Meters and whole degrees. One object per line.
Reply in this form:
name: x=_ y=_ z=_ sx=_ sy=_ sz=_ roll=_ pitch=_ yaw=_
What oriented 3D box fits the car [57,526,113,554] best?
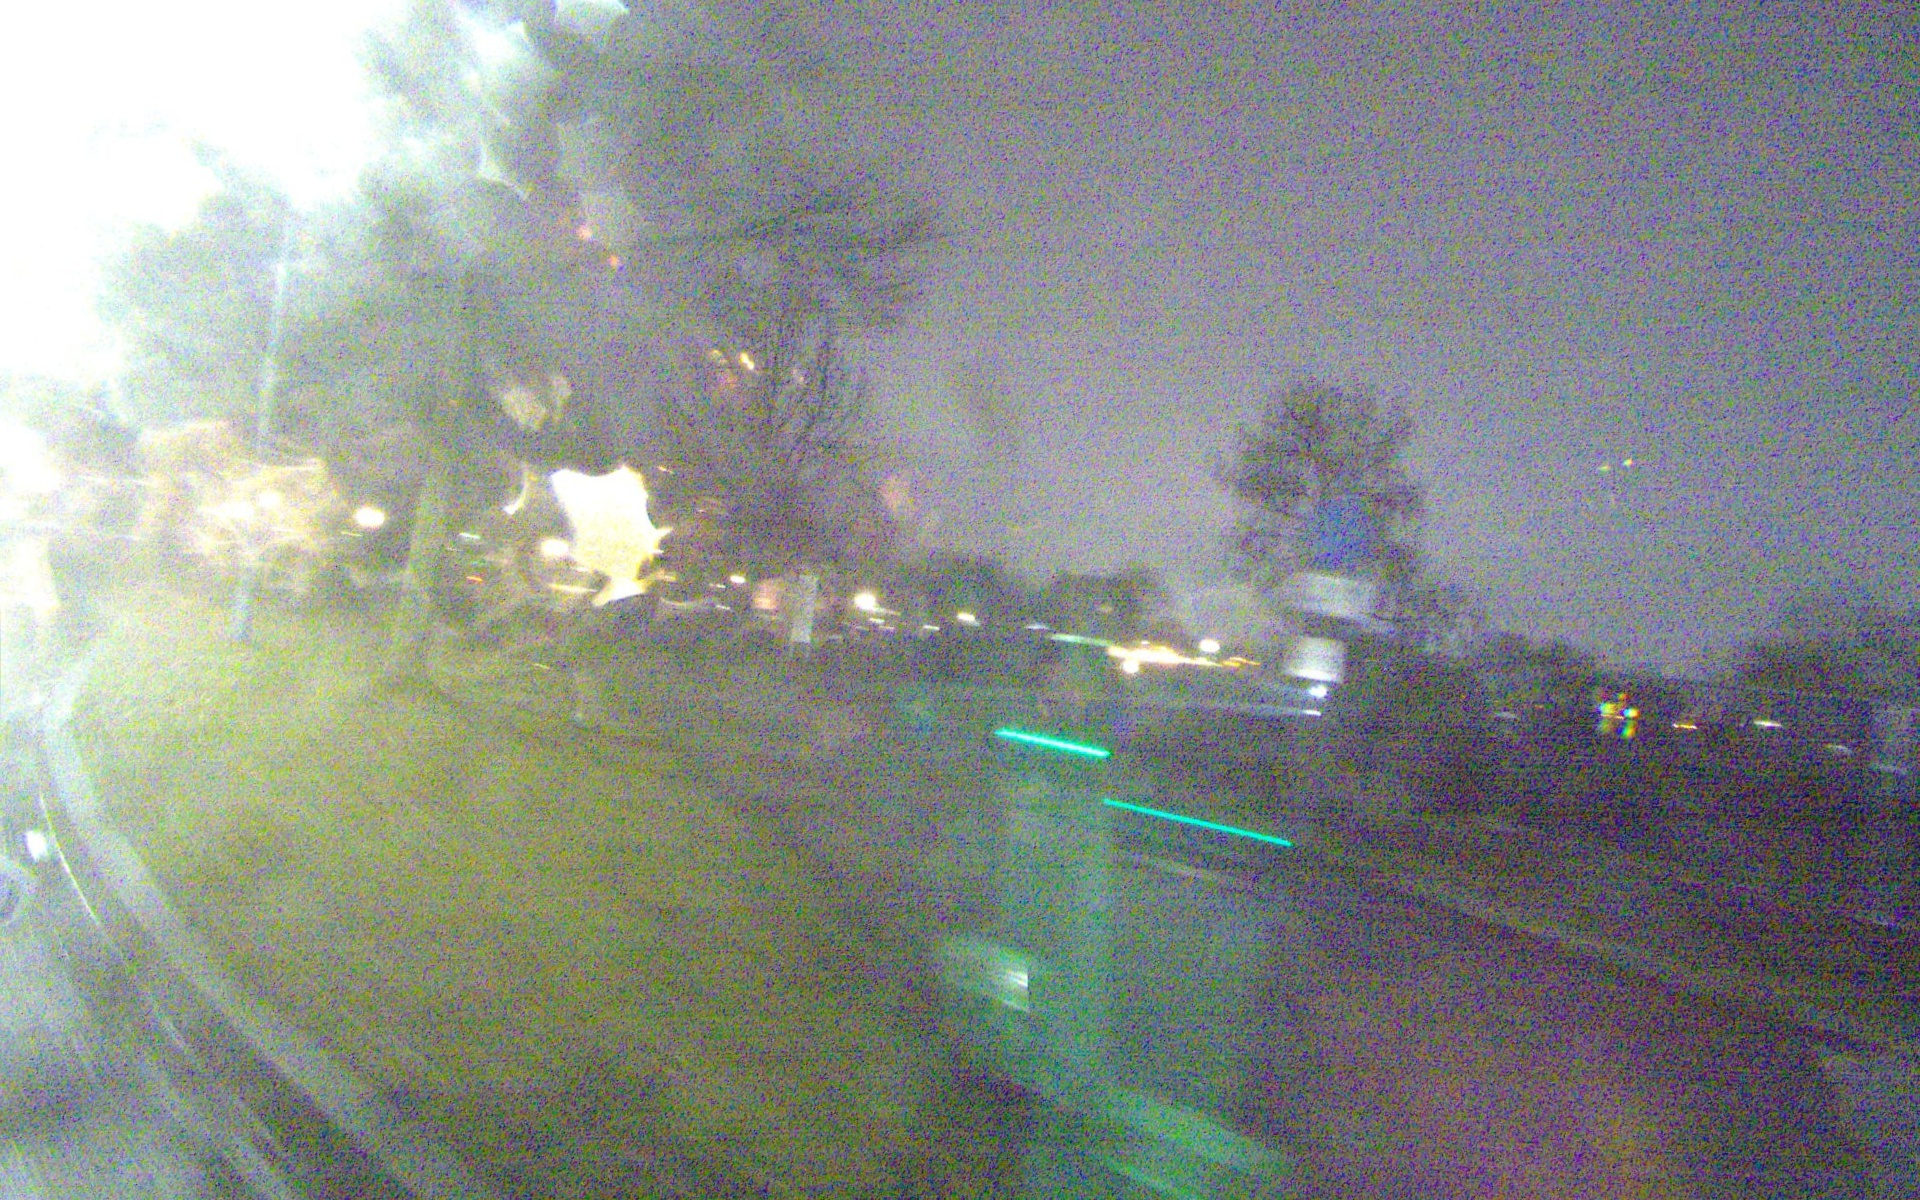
car: x=-62.651 y=-4.308 z=72.026 sx=3.846 sy=1.553 sz=1.721 roll=5 pitch=-4 yaw=31

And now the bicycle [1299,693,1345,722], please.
bicycle: x=15.255 y=4.528 z=42.355 sx=2.406 sy=0.987 sz=0.615 roll=10 pitch=-4 yaw=-40

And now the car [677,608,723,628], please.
car: x=-28.197 y=1.914 z=108.953 sx=4.912 sy=1.553 sz=1.721 roll=5 pitch=-4 yaw=31

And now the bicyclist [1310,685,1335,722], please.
bicyclist: x=15.254 y=4.357 z=42.341 sx=0.601 sy=1.463 sz=0.610 roll=9 pitch=-3 yaw=-38

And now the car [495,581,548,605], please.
car: x=-39.350 y=-0.630 z=90.215 sx=4.912 sy=1.553 sz=1.721 roll=5 pitch=-4 yaw=31

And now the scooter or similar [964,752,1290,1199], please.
scooter or similar: x=0.445 y=0.958 z=2.373 sx=0.312 sy=1.110 sz=1.103 roll=5 pitch=-2 yaw=30

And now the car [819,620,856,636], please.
car: x=-15.000 y=3.419 z=123.057 sx=4.080 sy=1.389 sz=1.721 roll=5 pitch=-4 yaw=31

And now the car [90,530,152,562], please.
car: x=-53.971 y=-3.463 z=64.686 sx=3.846 sy=1.553 sz=1.721 roll=5 pitch=-4 yaw=31

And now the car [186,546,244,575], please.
car: x=-51.198 y=-2.730 z=69.116 sx=3.846 sy=1.553 sz=1.721 roll=5 pitch=-4 yaw=31
